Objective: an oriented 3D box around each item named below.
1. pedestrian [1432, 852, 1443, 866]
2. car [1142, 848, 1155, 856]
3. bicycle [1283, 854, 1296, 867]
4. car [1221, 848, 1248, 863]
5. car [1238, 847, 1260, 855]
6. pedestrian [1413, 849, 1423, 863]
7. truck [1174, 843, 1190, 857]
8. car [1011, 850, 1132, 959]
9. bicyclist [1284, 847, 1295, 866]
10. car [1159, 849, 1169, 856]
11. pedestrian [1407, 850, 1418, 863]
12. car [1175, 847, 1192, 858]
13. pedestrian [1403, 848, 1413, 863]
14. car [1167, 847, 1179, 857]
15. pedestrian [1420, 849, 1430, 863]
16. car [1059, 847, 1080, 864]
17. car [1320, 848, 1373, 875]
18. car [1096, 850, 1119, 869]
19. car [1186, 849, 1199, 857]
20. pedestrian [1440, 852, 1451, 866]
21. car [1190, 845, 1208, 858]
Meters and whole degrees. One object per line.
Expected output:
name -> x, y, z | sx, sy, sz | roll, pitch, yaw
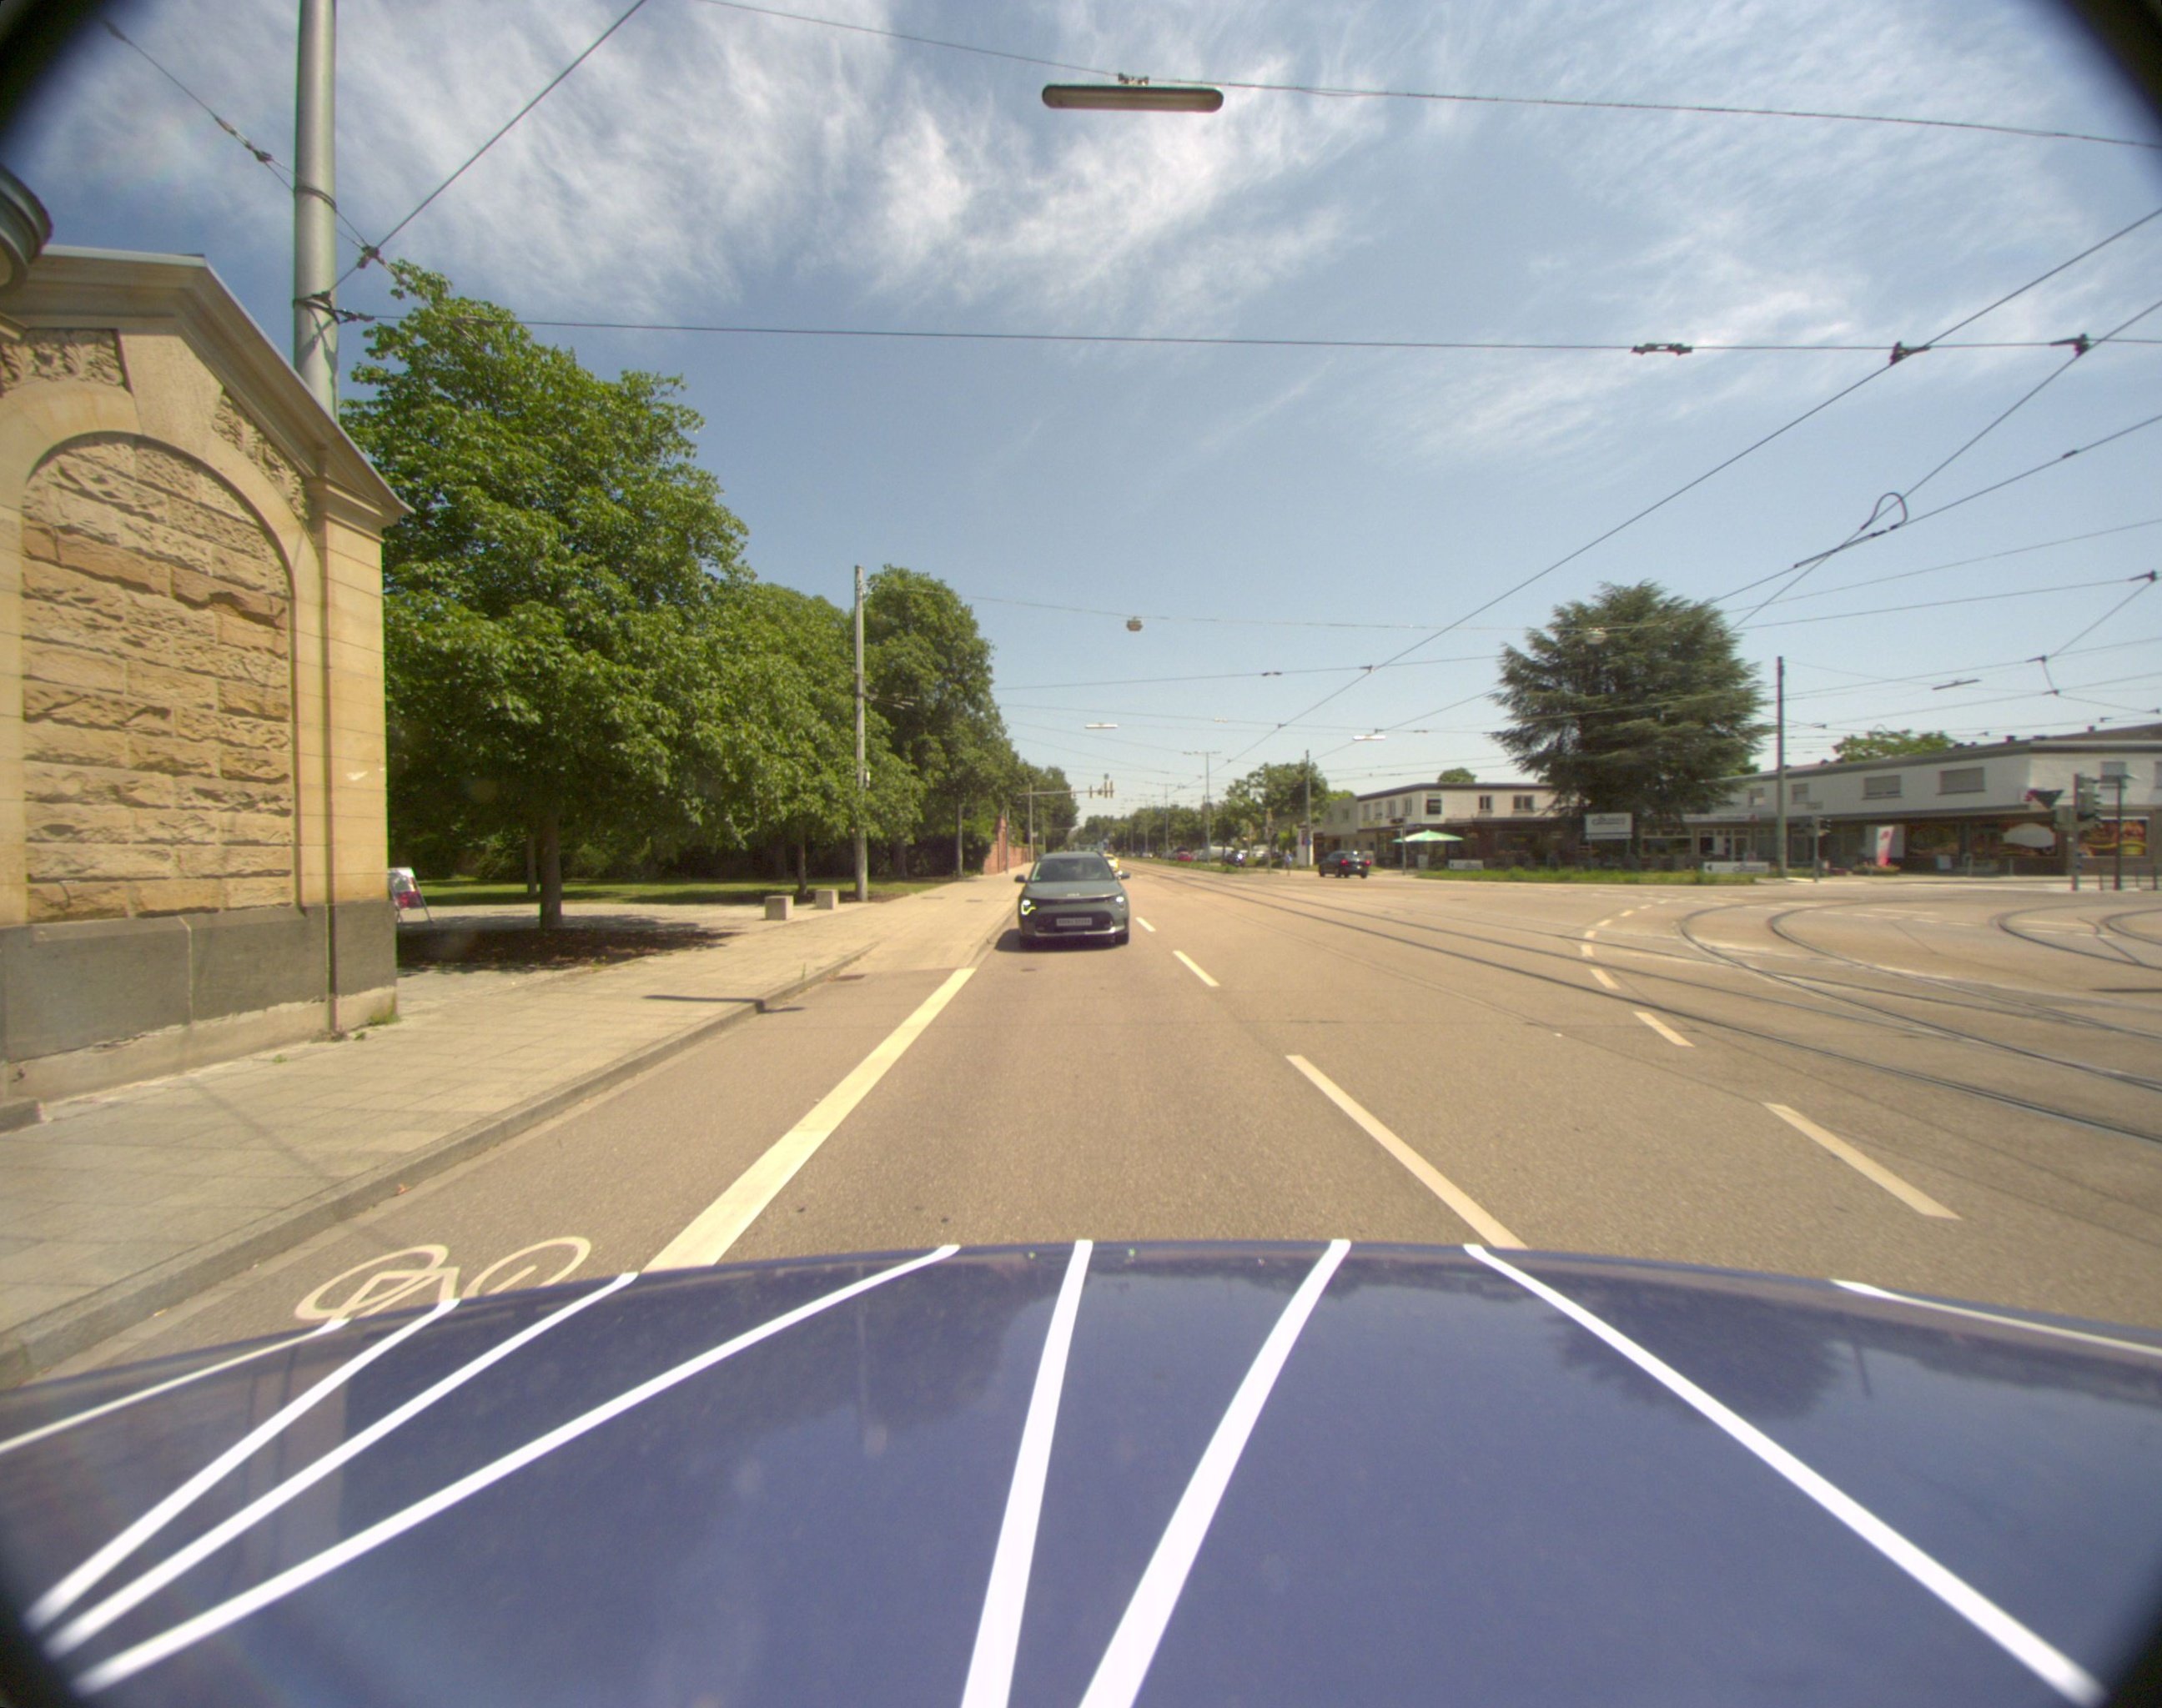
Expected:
pedestrian -> 28.202, 0.375, 60.067 | 0.518, 1.121, 0.674 | 0, 1, 0
car -> 13.654, -0.458, 154.308 | 1.999, 1.544, 4.137 | 2, 0, -5
bicycle -> 19.257, 0.584, 70.215 | 0.696, 1.142, 1.931 | 0, 0, -1
car -> 14.961, 0.171, 74.065 | 1.714, 1.430, 3.864 | 0, 0, -3
car -> 29.570, -0.546, 134.001 | 3.415, 1.497, 1.602 | 0, 1, -6
pedestrian -> 28.423, 0.190, 64.125 | 0.518, 1.192, 0.674 | 0, 1, 0
truck -> 18.391, -0.781, 138.469 | 2.225, 2.526, 4.928 | 0, 1, 0
car -> -0.148, 0.764, 13.735 | 1.789, 1.561, 4.183 | -2, 1, 0
bicyclist -> 19.254, 0.257, 70.256 | 0.696, 1.755, 1.137 | 0, 0, -1
car -> 18.492, -0.357, 169.018 | 1.681, 1.693, 3.823 | 0, 1, -1
pedestrian -> 28.462, 0.228, 65.256 | 0.566, 1.121, 0.810 | 0, 1, 0
car -> 14.234, -0.267, 105.604 | 1.629, 1.475, 3.827 | 0, 1, -5
pedestrian -> 27.815, 0.136, 64.668 | 0.576, 1.231, 0.491 | 0, 1, -1
car -> 18.418, -0.414, 152.397 | 1.681, 1.963, 4.508 | 0, 1, -1
pedestrian -> 29.040, 0.184, 64.107 | 0.518, 1.202, 0.674 | 0, 1, 0
car -> -1.098, 0.144, 75.192 | 1.999, 1.652, 3.999 | 0, 1, 0
car -> 16.261, 0.420, 46.829 | 1.798, 1.570, 4.494 | 0, 0, 2
car -> 2.091, 0.424, 61.421 | 1.620, 1.413, 3.654 | 2, 1, -1
car -> 17.984, -0.178, 122.586 | 1.675, 1.378, 3.568 | 0, 0, 1
pedestrian -> 28.101, 0.372, 58.532 | 0.518, 1.121, 0.674 | 0, 1, 0
car -> 17.920, -0.389, 115.786 | 1.999, 1.872, 4.661 | 0, 1, 0
